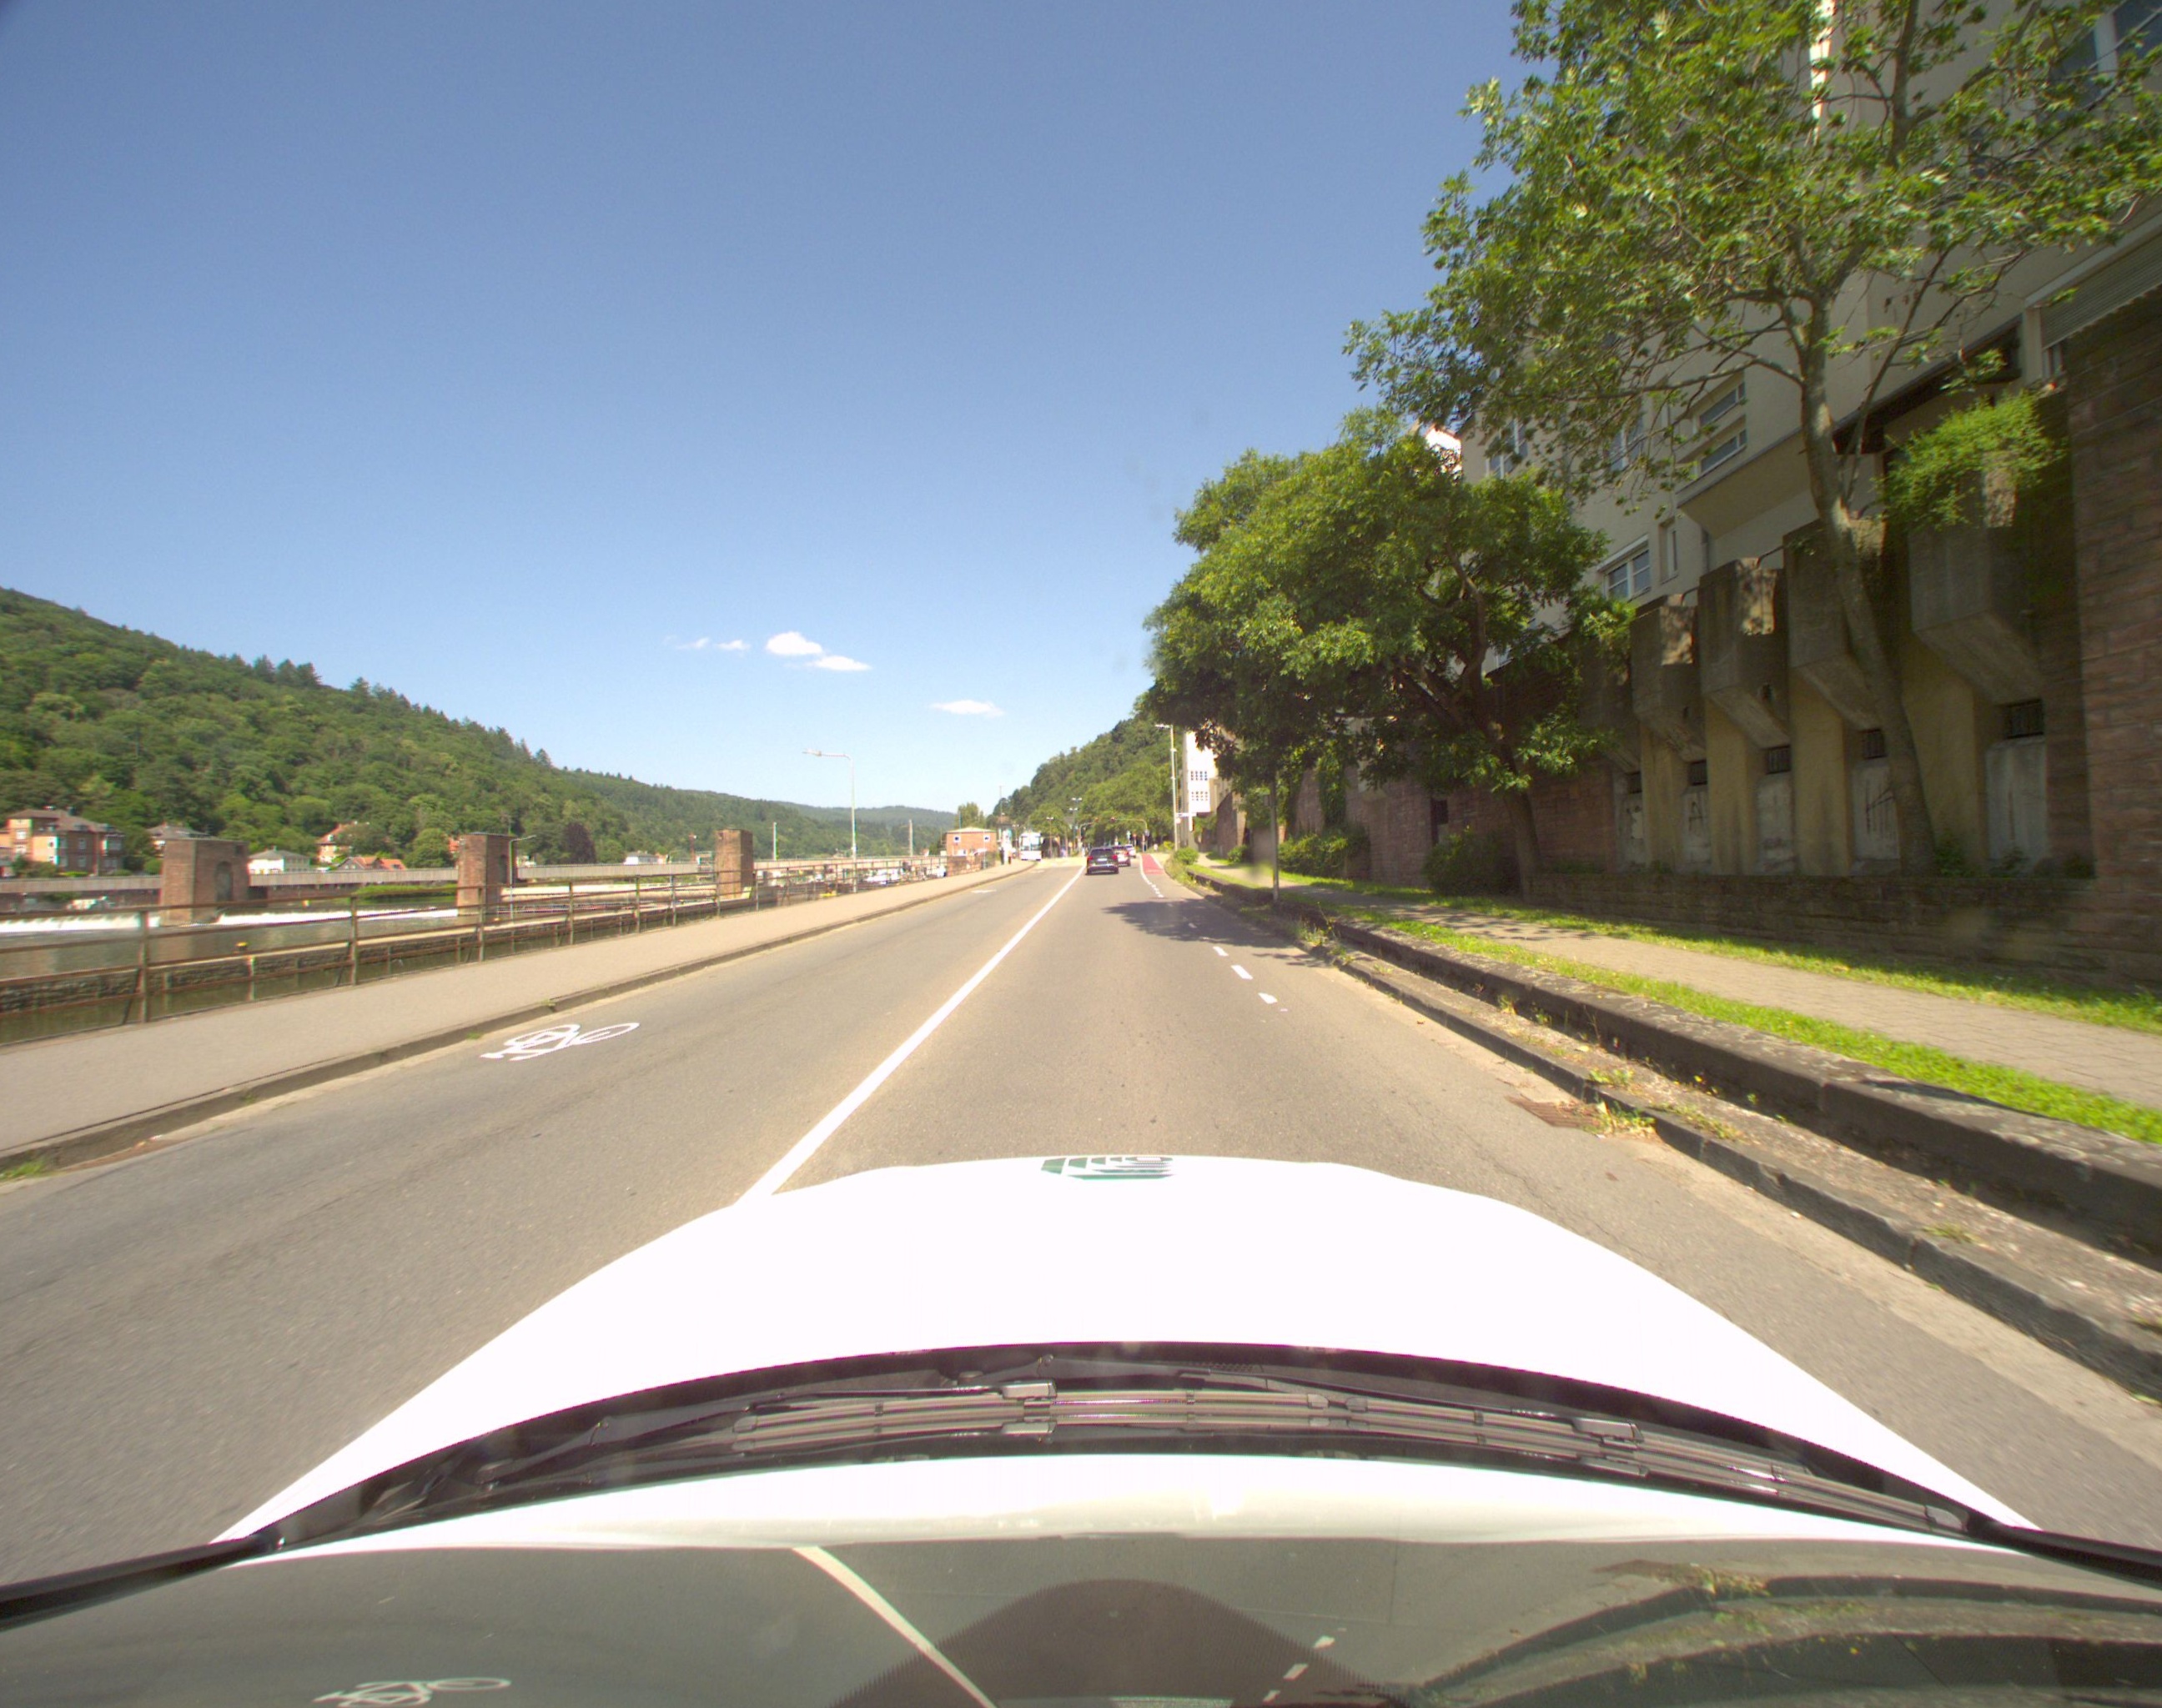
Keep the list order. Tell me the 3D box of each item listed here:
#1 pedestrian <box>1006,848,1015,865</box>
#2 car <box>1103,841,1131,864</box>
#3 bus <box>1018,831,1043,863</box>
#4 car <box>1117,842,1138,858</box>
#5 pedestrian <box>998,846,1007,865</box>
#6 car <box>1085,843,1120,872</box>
[{"bbox_3d":[-6.639,0.239,76.825,0.700,1.621,0.817,-2,0,0],"label":"pedestrian"},{"bbox_3d":[2.561,-0.120,57.700,1.881,1.521,4.308,-1,0,2],"label":"car"},{"bbox_3d":[-6.517,-0.840,106.634,2.950,3.800,13.228,-2,0,-3],"label":"bus"},{"bbox_3d":[4.651,-0.384,82.482,1.986,1.533,4.861,-1,0,2],"label":"car"},{"bbox_3d":[-7.177,0.170,74.579,0.680,1.709,0.773,-2,0,2],"label":"pedestrian"},{"bbox_3d":[1.230,0.206,45.928,1.862,1.514,4.153,-1,0,2],"label":"car"}]
